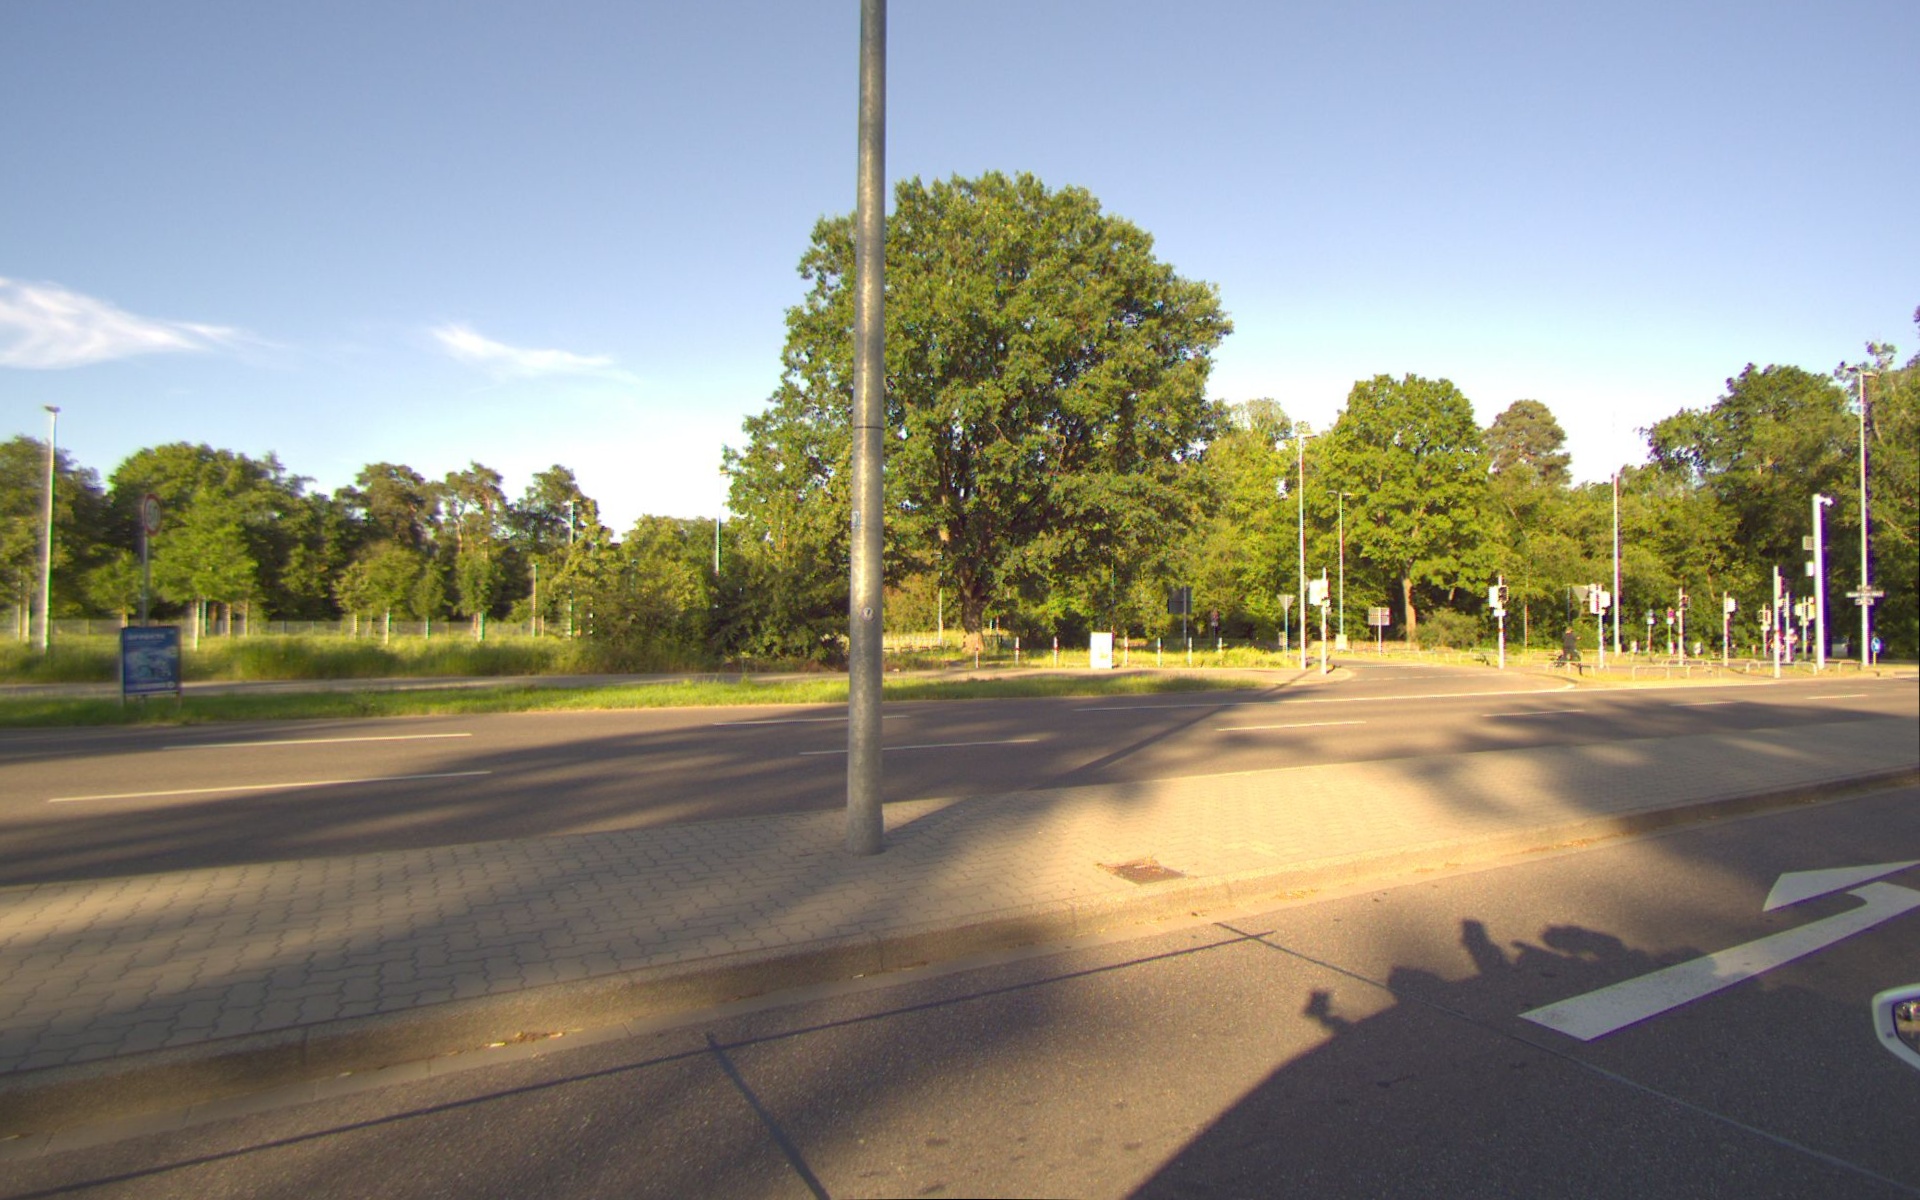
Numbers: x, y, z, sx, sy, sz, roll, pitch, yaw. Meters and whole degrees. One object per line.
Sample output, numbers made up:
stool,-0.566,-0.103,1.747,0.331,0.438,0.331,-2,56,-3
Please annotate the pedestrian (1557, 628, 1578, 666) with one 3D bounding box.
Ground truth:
pedestrian,25.795,2.009,42.629,0.641,1.583,0.479,2,0,-30

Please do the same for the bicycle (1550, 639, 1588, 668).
bicycle,25.838,2.251,42.620,1.980,1.193,0.466,2,0,-31

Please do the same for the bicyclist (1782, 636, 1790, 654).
bicyclist,44.247,2.409,53.808,0.238,0.975,0.271,2,0,-35

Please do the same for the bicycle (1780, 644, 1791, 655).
bicycle,44.204,2.663,53.784,0.831,0.589,0.264,2,0,-36
